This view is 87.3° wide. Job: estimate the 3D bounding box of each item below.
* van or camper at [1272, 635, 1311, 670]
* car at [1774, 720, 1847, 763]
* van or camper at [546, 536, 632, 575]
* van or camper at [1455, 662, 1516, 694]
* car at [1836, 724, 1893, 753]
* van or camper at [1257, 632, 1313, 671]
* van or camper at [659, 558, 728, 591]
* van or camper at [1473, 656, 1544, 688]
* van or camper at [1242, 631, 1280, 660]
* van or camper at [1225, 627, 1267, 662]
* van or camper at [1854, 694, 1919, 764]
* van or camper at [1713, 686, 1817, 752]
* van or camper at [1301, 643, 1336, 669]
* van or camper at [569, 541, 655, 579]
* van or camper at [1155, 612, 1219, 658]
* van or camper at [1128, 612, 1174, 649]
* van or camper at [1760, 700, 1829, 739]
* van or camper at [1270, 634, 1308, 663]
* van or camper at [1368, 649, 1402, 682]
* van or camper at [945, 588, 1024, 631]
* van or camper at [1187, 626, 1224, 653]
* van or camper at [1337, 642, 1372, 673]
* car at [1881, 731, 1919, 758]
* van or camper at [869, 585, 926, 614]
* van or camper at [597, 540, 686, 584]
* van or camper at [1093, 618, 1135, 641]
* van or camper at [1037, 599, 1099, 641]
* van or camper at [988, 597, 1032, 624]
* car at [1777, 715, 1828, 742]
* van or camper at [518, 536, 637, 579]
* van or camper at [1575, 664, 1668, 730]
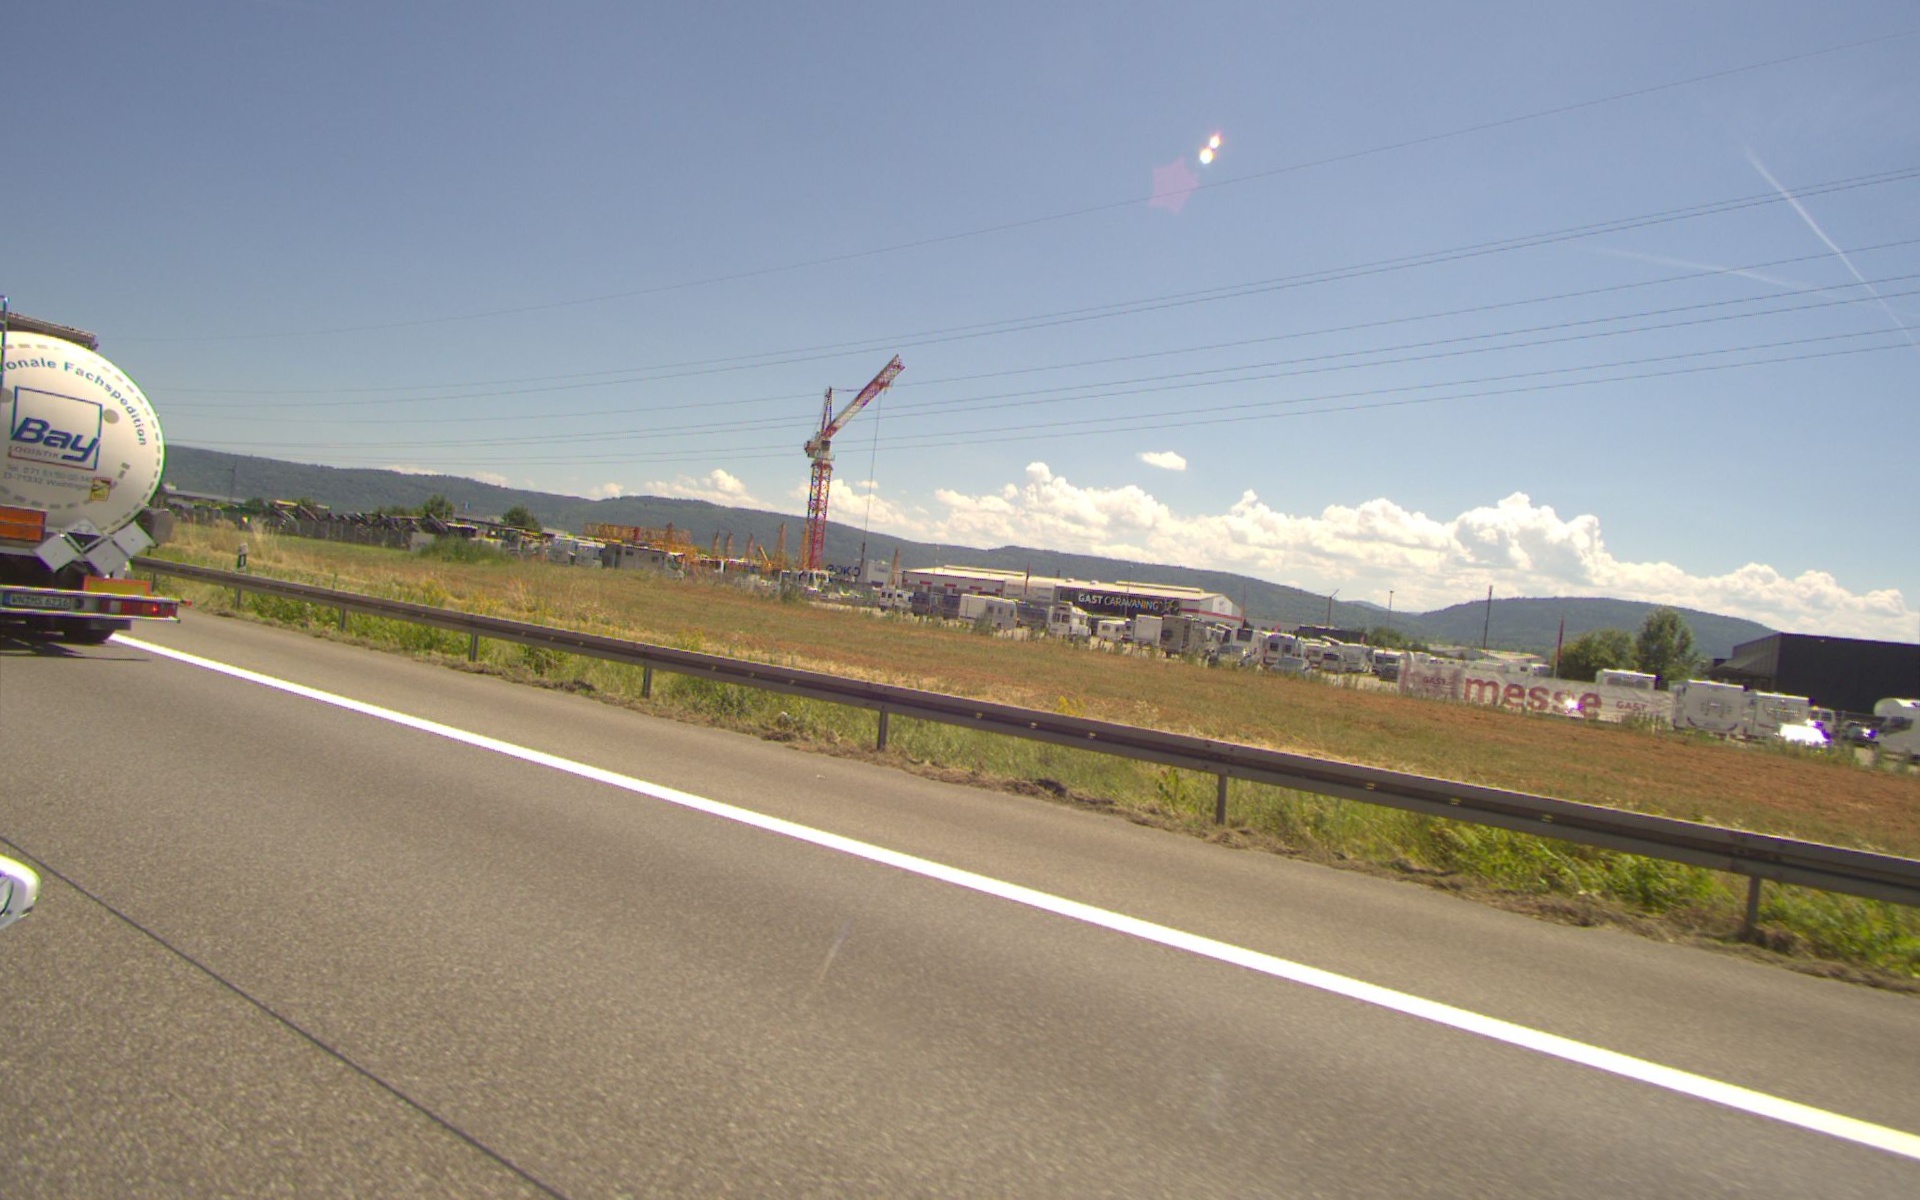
[{"bbox_3d":[28.065,4.475,85.044,2.377,2.588,5.326,7,0,24],"label":"van or camper"},{"bbox_3d":[34.378,5.677,40.763,1.560,1.313,3.895,7,-1,32],"label":"car"},{"bbox_3d":[-30.128,-3.579,81.978,2.560,2.432,6.121,7,0,33],"label":"van or camper"},{"bbox_3d":[58.497,8.624,112.213,2.464,2.775,5.939,6,0,-14],"label":"van or camper"},{"bbox_3d":[57.498,8.801,64.000,1.670,1.370,3.995,7,-1,29],"label":"car"},{"bbox_3d":[22.419,3.568,69.246,2.505,2.338,5.650,7,0,27],"label":"van or camper"},{"bbox_3d":[-25.633,-2.459,96.878,2.560,2.432,6.121,7,0,33],"label":"van or camper"},{"bbox_3d":[63.661,8.359,116.795,2.489,2.776,6.569,6,1,-45],"label":"van or camper"},{"bbox_3d":[32.943,5.022,110.093,2.600,2.765,5.948,7,0,28],"label":"van or camper"},{"bbox_3d":[24.022,3.755,84.369,2.377,2.588,5.326,7,0,24],"label":"van or camper"},{"bbox_3d":[48.702,6.621,50.995,2.627,3.231,7.759,7,-1,25],"label":"van or camper"},{"bbox_3d":[43.480,6.320,54.589,2.558,2.915,7.757,7,-1,27],"label":"van or camper"},{"bbox_3d":[38.293,5.960,107.303,2.461,2.414,5.948,7,0,28],"label":"van or camper"},{"bbox_3d":[-27.769,-3.148,80.551,2.560,2.247,6.121,7,0,33],"label":"van or camper"},{"bbox_3d":[16.301,2.563,71.920,2.381,2.801,6.455,7,0,30],"label":"van or camper"},{"bbox_3d":[16.844,2.739,88.586,2.570,2.799,5.270,7,0,24],"label":"van or camper"},{"bbox_3d":[65.398,9.321,79.000,2.713,2.285,6.223,7,0,28],"label":"van or camper"},{"bbox_3d":[35.596,5.309,108.749,2.600,2.765,5.948,7,0,28],"label":"van or camper"},{"bbox_3d":[43.417,6.655,102.721,2.461,2.933,5.948,7,0,28],"label":"van or camper"},{"bbox_3d":[1.960,0.768,78.474,3.269,2.711,6.359,7,0,30],"label":"van or camper"},{"bbox_3d":[25.181,4.073,103.014,2.336,2.322,5.268,7,0,27],"label":"van or camper"},{"bbox_3d":[41.246,6.025,105.126,2.461,2.933,5.948,7,0,28],"label":"van or camper"},{"bbox_3d":[59.656,9.132,63.189,1.670,1.370,3.995,7,-1,29],"label":"car"},{"bbox_3d":[-6.339,-0.037,103.529,2.760,2.382,5.944,7,0,31],"label":"van or camper"},{"bbox_3d":[-24.835,-2.929,78.712,2.398,2.584,6.347,7,0,33],"label":"van or camper"},{"bbox_3d":[16.948,3.282,110.261,2.397,2.092,5.835,7,0,30],"label":"van or camper"},{"bbox_3d":[8.306,1.564,77.043,2.572,2.711,5.265,7,0,30],"label":"van or camper"},{"bbox_3d":[5.819,1.201,115.367,2.397,2.584,5.835,7,0,30],"label":"van or camper"},{"bbox_3d":[55.140,8.365,65.896,1.670,1.370,3.995,7,-1,29],"label":"car"},{"bbox_3d":[-32.676,-3.583,86.398,3.109,2.552,9.318,7,0,33],"label":"van or camper"},{"bbox_3d":[36.038,5.223,55.105,3.101,2.915,7.757,7,-1,27],"label":"van or camper"}]
